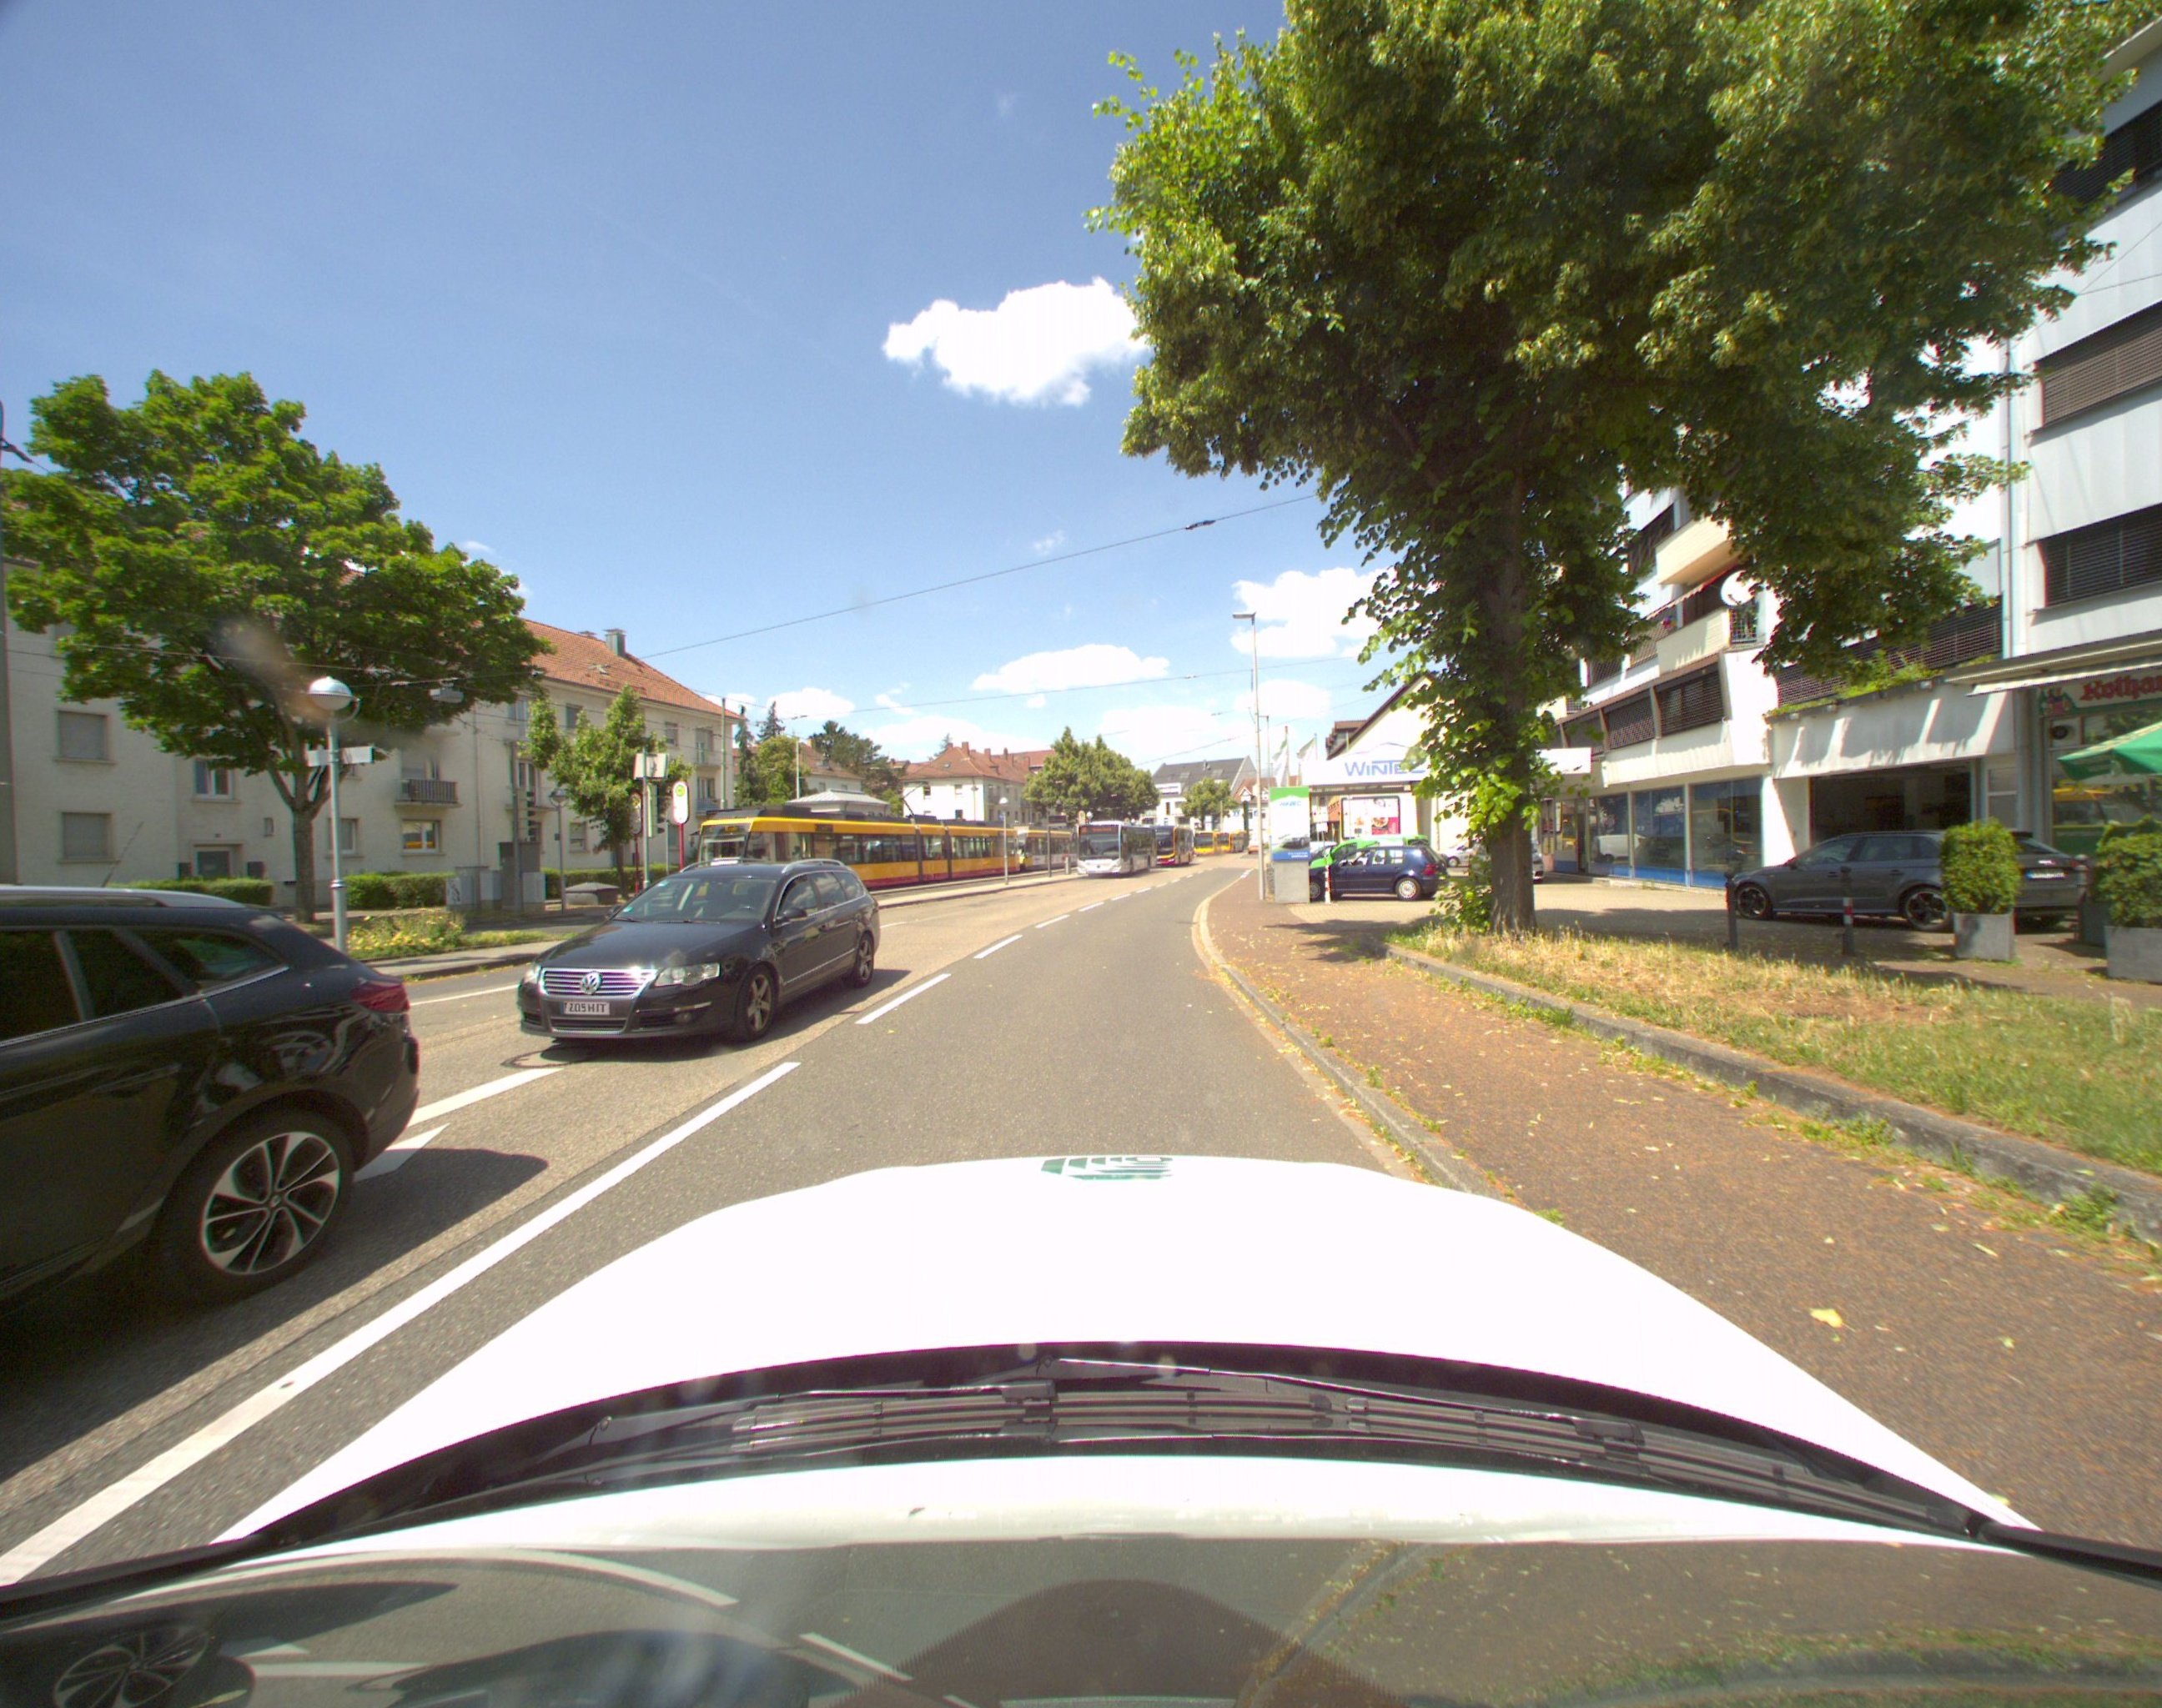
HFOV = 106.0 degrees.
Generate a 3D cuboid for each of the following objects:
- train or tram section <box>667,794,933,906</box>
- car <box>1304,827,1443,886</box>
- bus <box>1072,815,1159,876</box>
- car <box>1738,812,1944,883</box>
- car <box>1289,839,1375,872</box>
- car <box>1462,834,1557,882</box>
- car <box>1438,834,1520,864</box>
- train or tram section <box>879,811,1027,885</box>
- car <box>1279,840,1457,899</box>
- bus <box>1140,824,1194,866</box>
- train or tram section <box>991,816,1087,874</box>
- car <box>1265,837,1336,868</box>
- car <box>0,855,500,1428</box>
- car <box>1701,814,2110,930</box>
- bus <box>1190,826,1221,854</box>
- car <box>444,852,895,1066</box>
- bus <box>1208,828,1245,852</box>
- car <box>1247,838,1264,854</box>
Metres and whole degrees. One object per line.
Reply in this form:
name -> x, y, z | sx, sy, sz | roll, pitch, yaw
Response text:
train or tram section -> -10.385, -0.195, 33.251 | 2.789, 3.568, 14.236 | -1, 0, 14
car -> 9.688, 0.107, 27.225 | 1.850, 1.794, 3.982 | -2, 0, -35
bus -> 2.361, -0.524, 48.713 | 2.711, 3.129, 12.054 | -1, 0, 14
car -> 19.063, -0.160, 20.749 | 1.979, 1.585, 4.399 | -1, 0, 15
car -> 12.870, 0.081, 41.921 | 3.914, 1.518, 1.824 | -2, 0, 2
car -> 15.536, 0.132, 29.784 | 1.994, 1.596, 4.304 | -1, 0, 13
car -> 24.961, -0.315, 51.205 | 4.278, 1.809, 2.006 | -1, 2, 10
train or tram section -> -6.792, -0.388, 47.278 | 2.765, 3.568, 14.763 | -1, 0, 14
car -> 7.712, 0.413, 22.016 | 4.118, 1.439, 1.914 | -2, 0, 36
bus -> 7.299, -0.733, 67.539 | 2.711, 3.129, 12.054 | -1, 0, 14
train or tram section -> -2.825, -0.684, 62.886 | 2.765, 3.895, 15.612 | -1, 0, 14
car -> 13.981, -0.109, 52.089 | 4.277, 1.809, 2.006 | -1, 2, 10
car -> -3.880, 0.791, 1.724 | 1.986, 1.500, 4.428 | -1, 0, 2
car -> 12.206, 0.242, 12.576 | 1.699, 1.428, 4.355 | -1, 0, -5
bus -> 15.749, -1.731, 102.492 | 2.711, 3.218, 11.091 | -1, 0, 14
car -> -3.546, 0.769, 8.217 | 1.985, 1.519, 4.517 | -1, 0, 4
bus -> 20.750, -2.006, 115.721 | 2.610, 3.218, 9.998 | -1, 0, 25
car -> 23.059, -1.097, 107.407 | 1.794, 1.981, 4.018 | -1, 0, 16
